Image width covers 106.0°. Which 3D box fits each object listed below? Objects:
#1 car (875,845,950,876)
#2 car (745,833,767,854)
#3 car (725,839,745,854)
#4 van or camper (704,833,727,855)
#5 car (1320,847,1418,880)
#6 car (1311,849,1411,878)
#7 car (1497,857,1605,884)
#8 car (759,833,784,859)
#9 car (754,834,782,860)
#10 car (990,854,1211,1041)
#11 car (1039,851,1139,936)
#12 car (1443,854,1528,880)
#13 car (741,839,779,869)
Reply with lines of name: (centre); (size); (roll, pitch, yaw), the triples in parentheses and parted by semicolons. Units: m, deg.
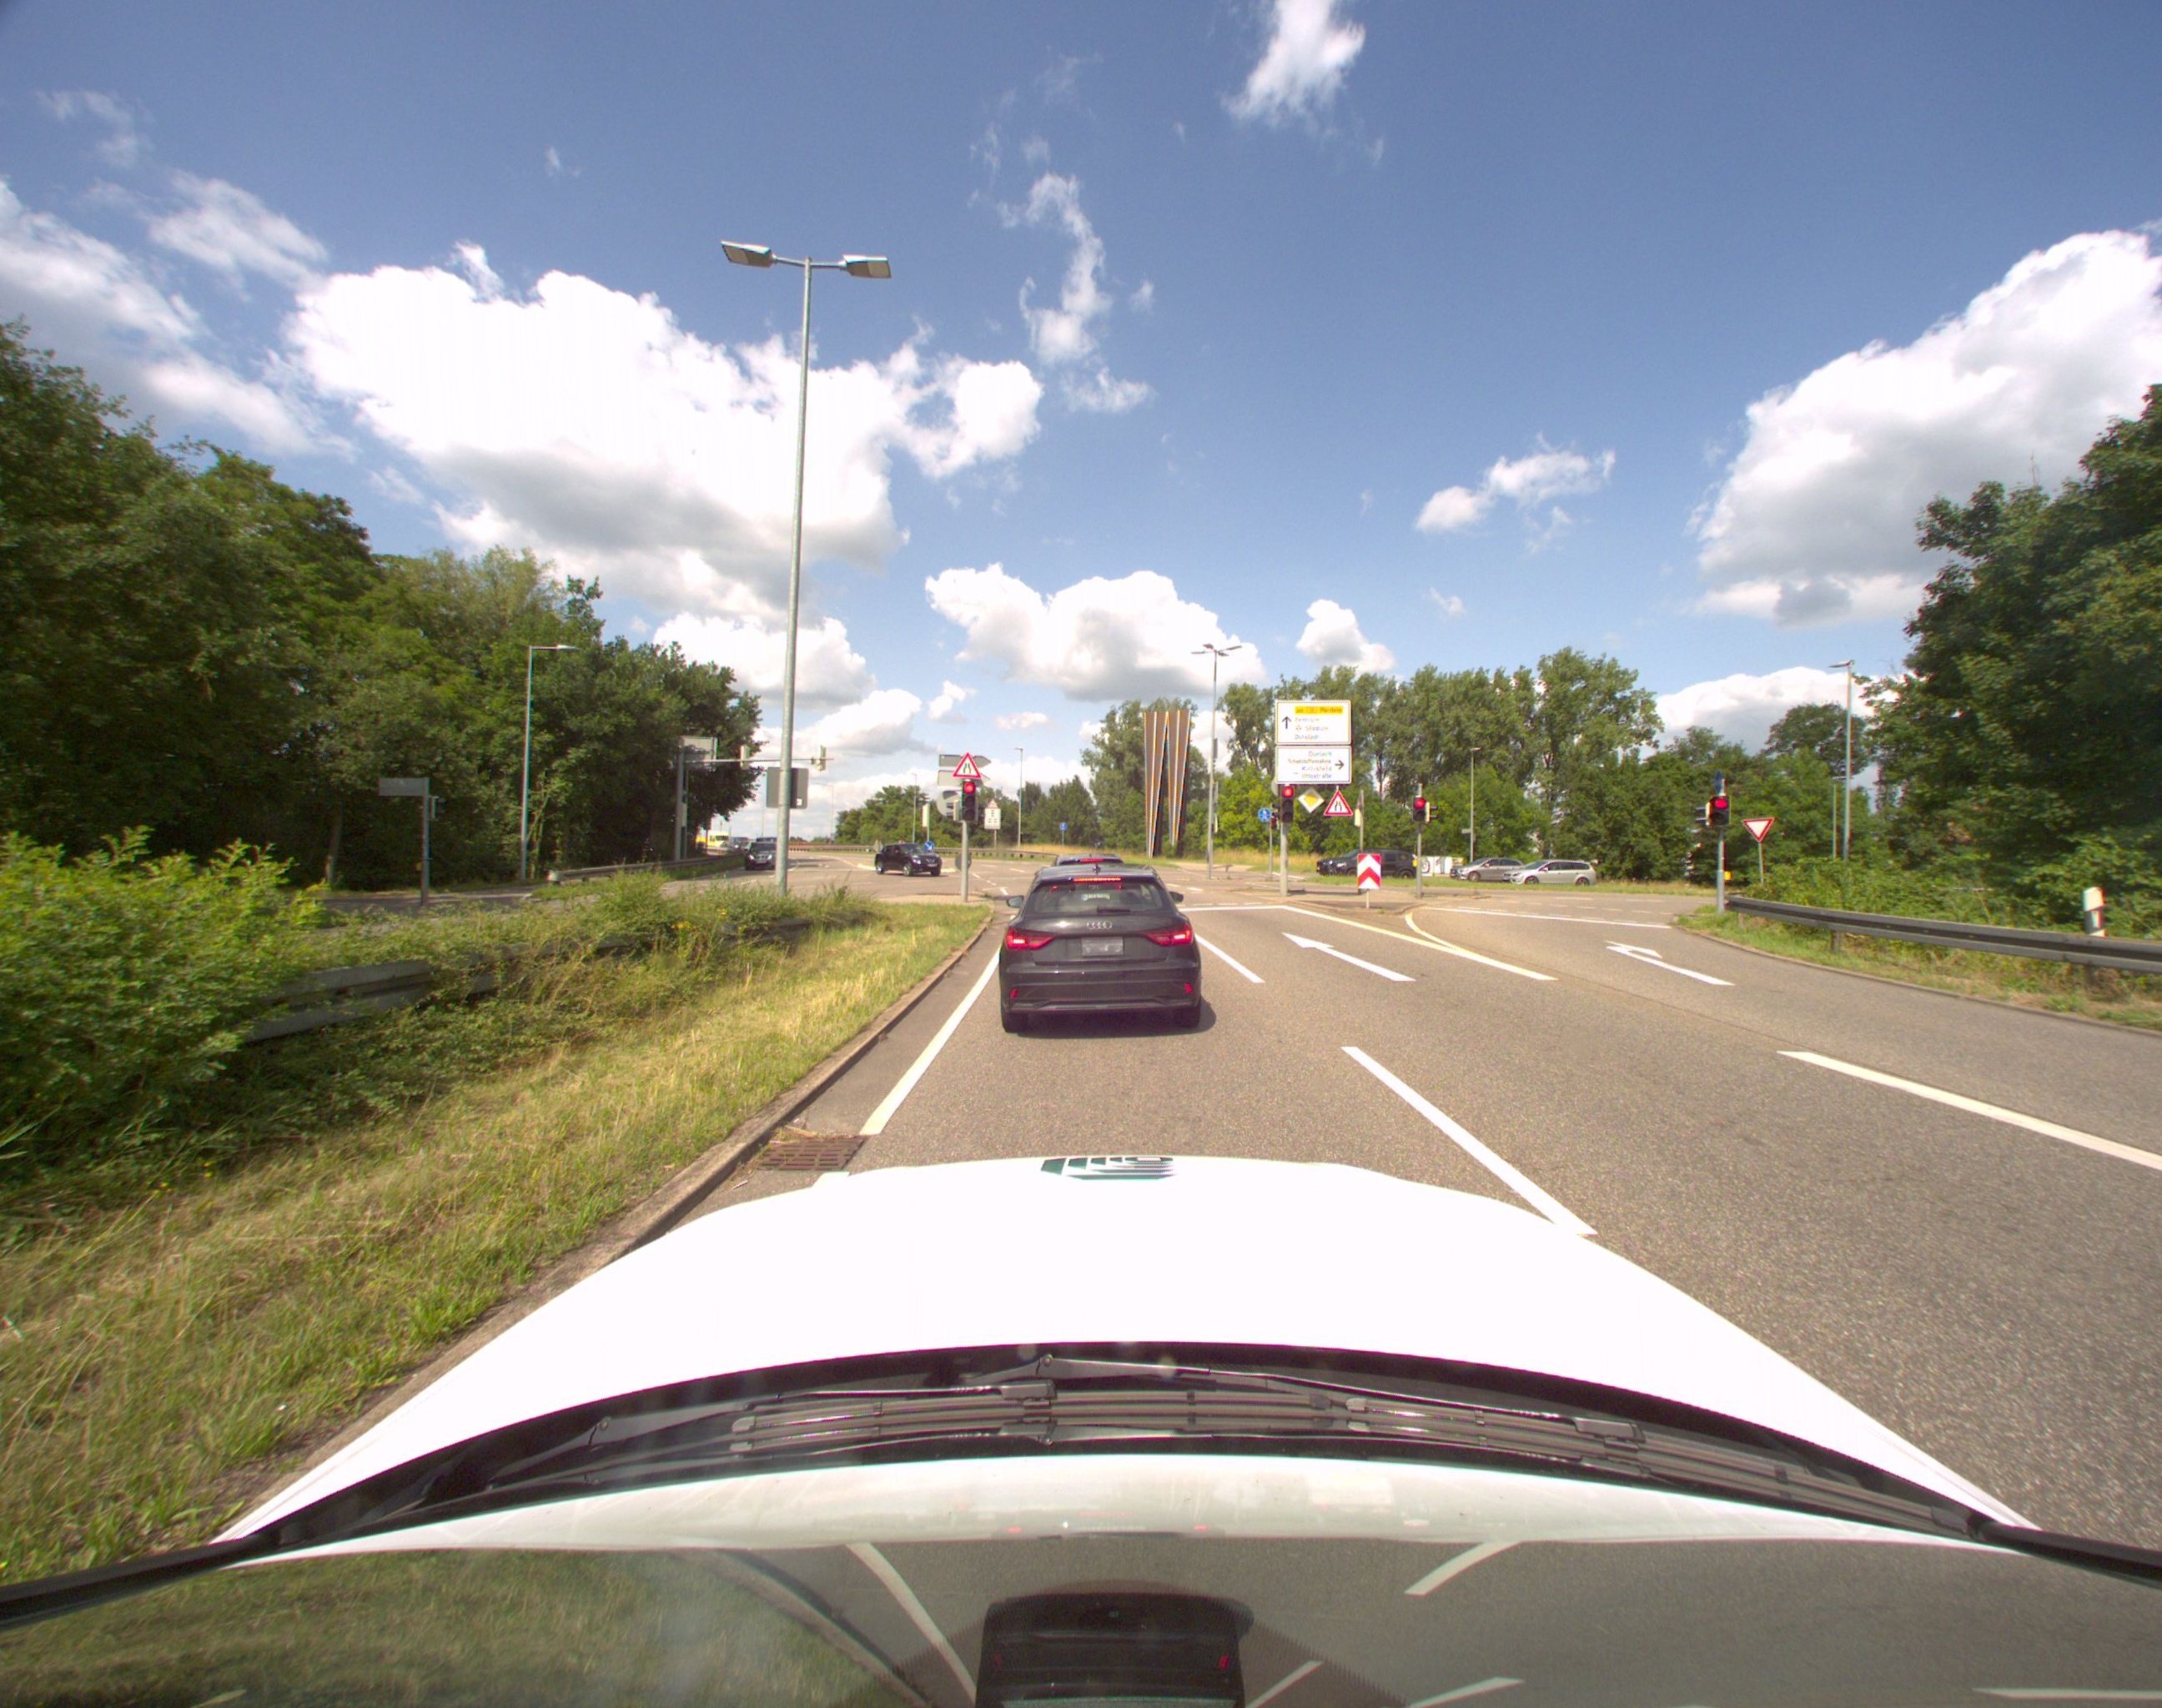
car: (-8.207, 0.284, 39.470); (1.963, 1.418, 3.924); (1, 0, -39)
car: (-32.756, -1.045, 82.047); (1.852, 1.978, 4.291); (0, 0, -25)
car: (-38.965, -0.834, 91.602); (1.853, 1.705, 4.289); (0, 0, -27)
van or camper: (-46.955, -1.299, 104.568); (2.006, 2.683, 6.798); (0, 0, -30)
car: (14.292, 0.457, 40.533); (4.254, 1.545, 1.737); (0, 0, 0)
car: (15.199, 0.506, 44.373); (4.831, 1.545, 1.737); (0, 0, 0)
car: (23.434, 0.811, 40.682); (4.461, 1.320, 1.736); (0, 0, -2)
car: (-25.971, -0.638, 68.336); (1.851, 2.100, 4.294); (0, 0, -22)
car: (-23.391, -0.518, 60.934); (1.849, 1.802, 4.298); (0, 0, -19)
car: (0.214, 0.744, 8.460); (1.720, 1.404, 4.002); (-1, 0, 2)
car: (0.065, 0.690, 16.271); (1.722, 1.423, 3.841); (-1, 0, -3)
car: (24.004, 0.760, 48.446); (4.094, 1.496, 1.999); (1, 0, -1)
car: (-18.409, 0.029, 46.896); (1.844, 1.618, 3.974); (0, -1, -19)
